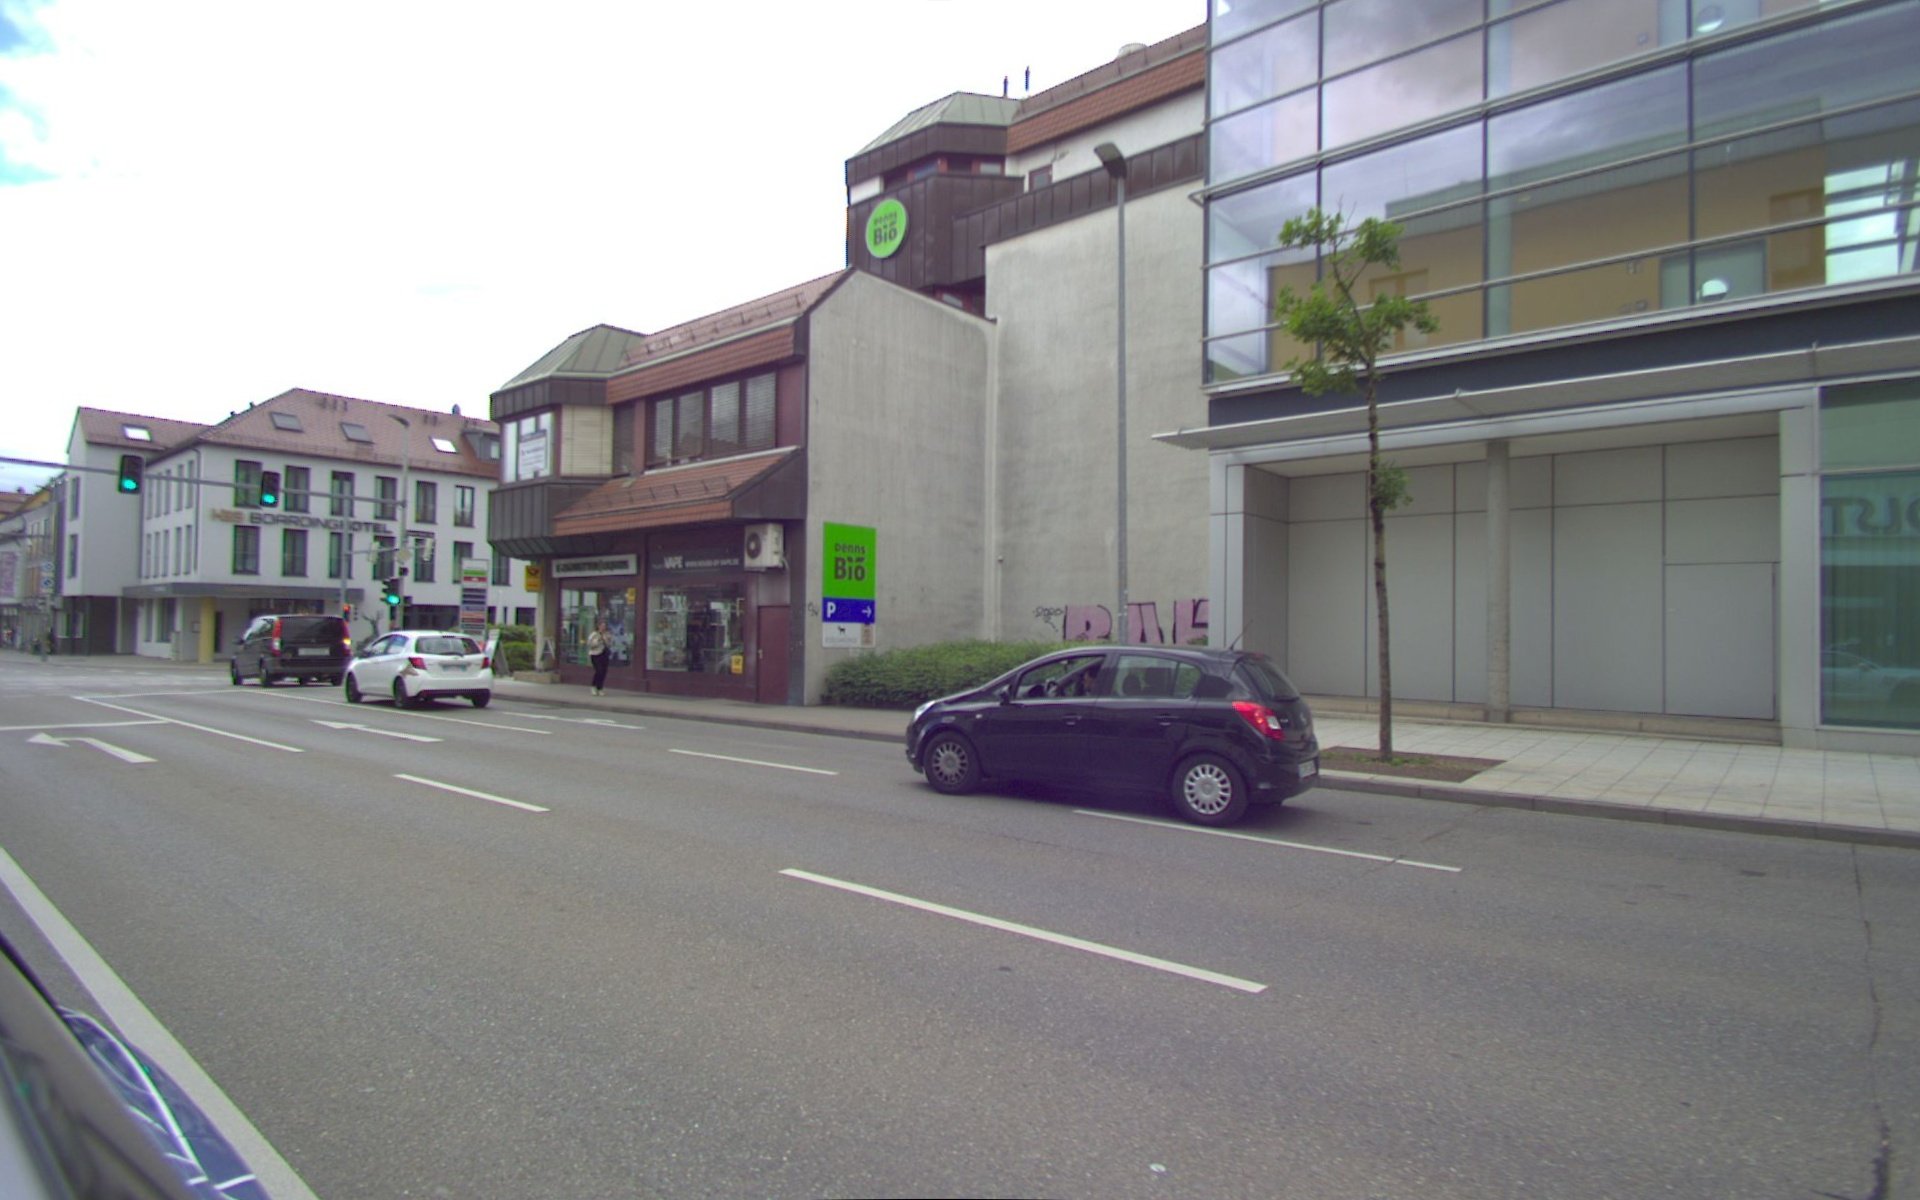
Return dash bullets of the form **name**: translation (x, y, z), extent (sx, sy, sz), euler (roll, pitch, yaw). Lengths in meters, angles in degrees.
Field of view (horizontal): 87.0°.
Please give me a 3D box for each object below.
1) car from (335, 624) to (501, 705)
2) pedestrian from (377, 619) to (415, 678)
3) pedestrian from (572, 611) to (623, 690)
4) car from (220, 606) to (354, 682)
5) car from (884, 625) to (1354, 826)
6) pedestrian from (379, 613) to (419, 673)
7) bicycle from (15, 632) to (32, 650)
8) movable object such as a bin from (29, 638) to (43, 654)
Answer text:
- **car**: translation (-11.098, 1.254, 20.628), extent (3.998, 1.476, 1.643), euler (-1, -3, 41)
- **pedestrian**: translation (-17.789, 1.511, 31.918), extent (0.744, 1.822, 0.804), euler (-1, -1, 33)
- **pedestrian**: translation (-8.054, 1.114, 22.497), extent (0.776, 1.706, 0.742), euler (-1, -2, 36)
- **car**: translation (-18.638, 1.184, 27.938), extent (5.112, 1.924, 1.845), euler (-1, -3, 42)
- **car**: translation (1.366, 0.992, 9.368), extent (3.990, 1.491, 1.646), euler (-1, -3, 35)
- **pedestrian**: translation (-17.272, 1.322, 31.179), extent (0.773, 1.822, 0.804), euler (-1, -1, 33)
- **bicycle**: translation (-57.930, 2.537, 62.569), extent (1.901, 1.109, 0.566), euler (-2, -2, 41)
- **movable object such as a bin**: translation (-54.752, 2.716, 59.991), extent (0.506, 0.906, 0.545), euler (-1, -2, 39)
